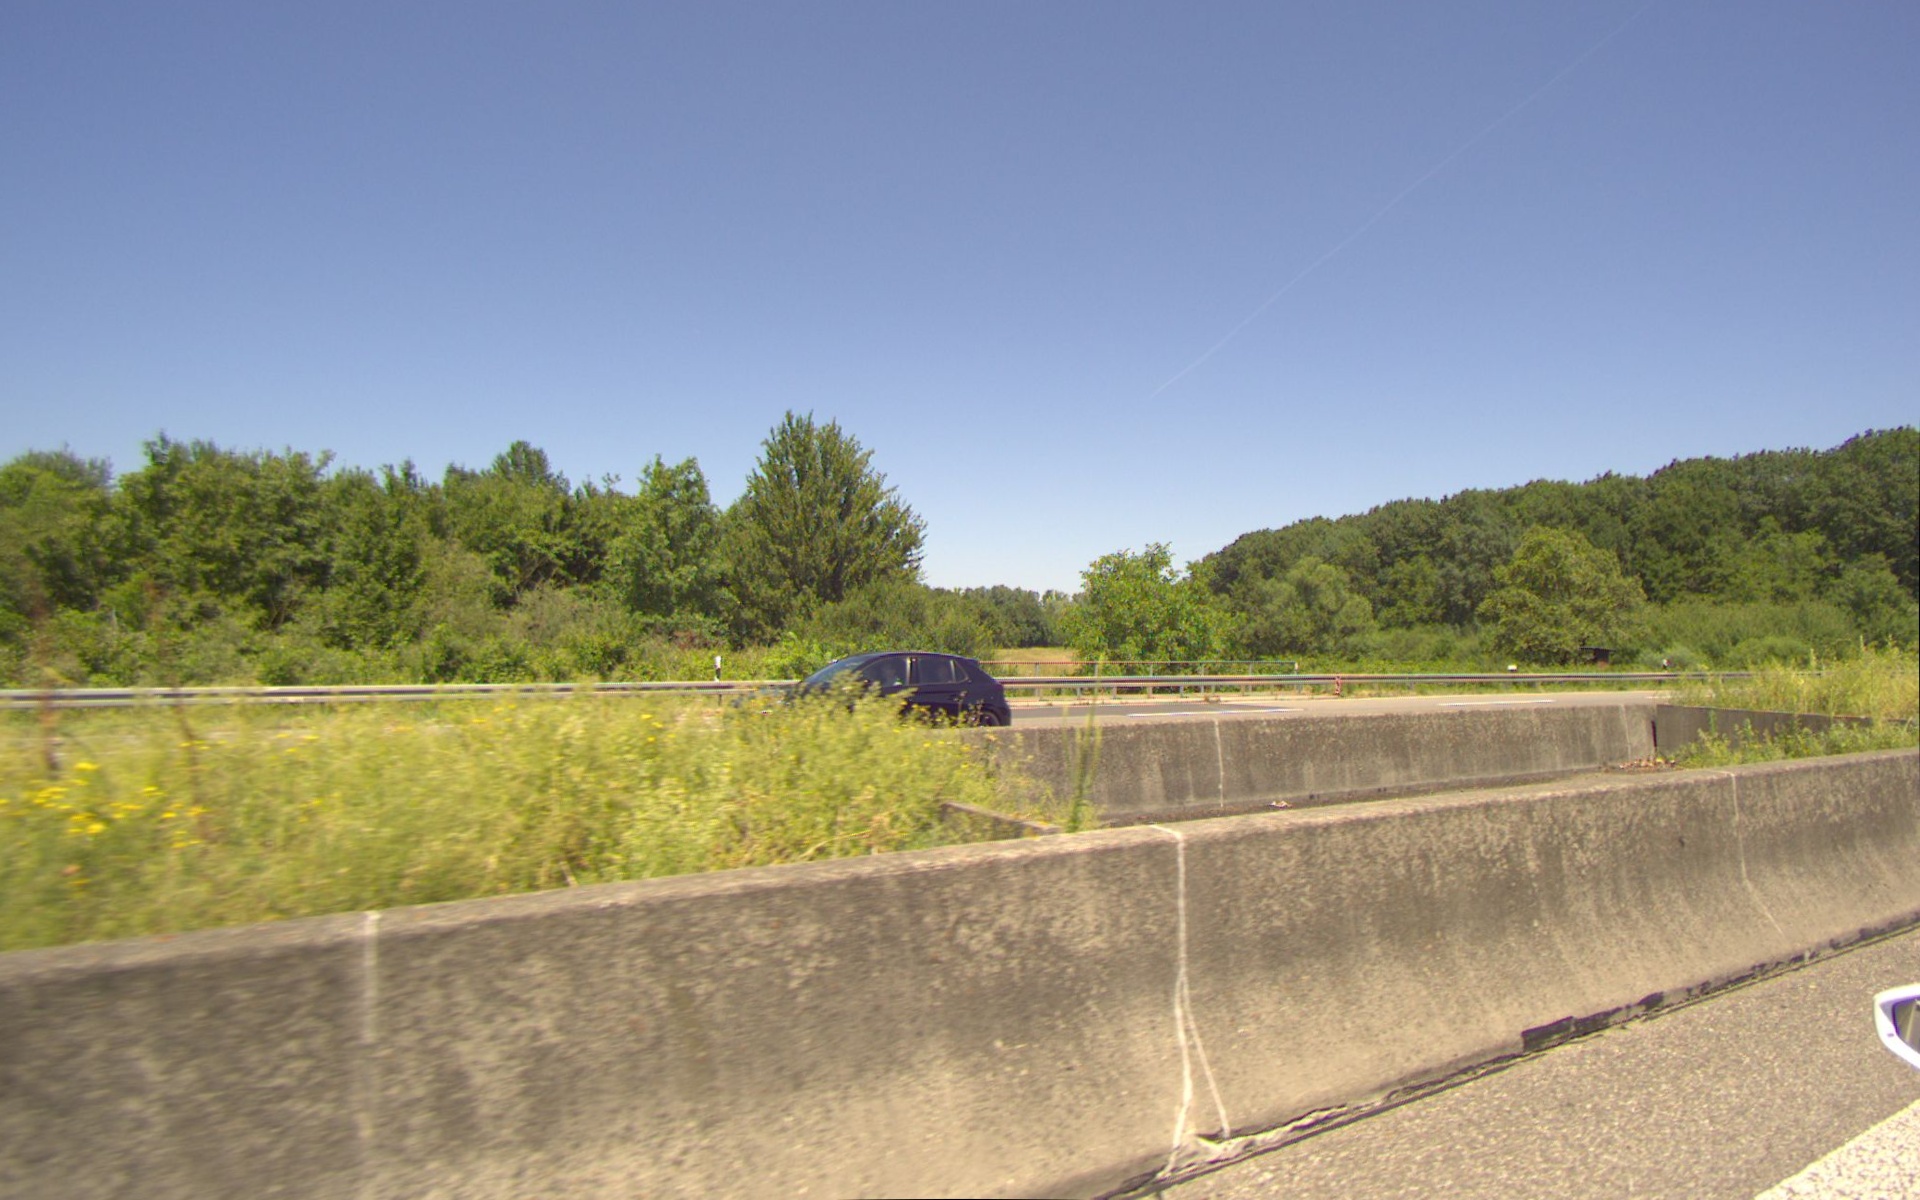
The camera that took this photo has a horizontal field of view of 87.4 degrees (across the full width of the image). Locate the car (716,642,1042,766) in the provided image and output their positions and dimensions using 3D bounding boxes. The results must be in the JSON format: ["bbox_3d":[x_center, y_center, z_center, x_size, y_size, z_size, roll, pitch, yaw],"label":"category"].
[{"bbox_3d":[-1.060,1.361,13.886,4.209,1.483,1.662,2,-4,-30],"label":"car"}]
